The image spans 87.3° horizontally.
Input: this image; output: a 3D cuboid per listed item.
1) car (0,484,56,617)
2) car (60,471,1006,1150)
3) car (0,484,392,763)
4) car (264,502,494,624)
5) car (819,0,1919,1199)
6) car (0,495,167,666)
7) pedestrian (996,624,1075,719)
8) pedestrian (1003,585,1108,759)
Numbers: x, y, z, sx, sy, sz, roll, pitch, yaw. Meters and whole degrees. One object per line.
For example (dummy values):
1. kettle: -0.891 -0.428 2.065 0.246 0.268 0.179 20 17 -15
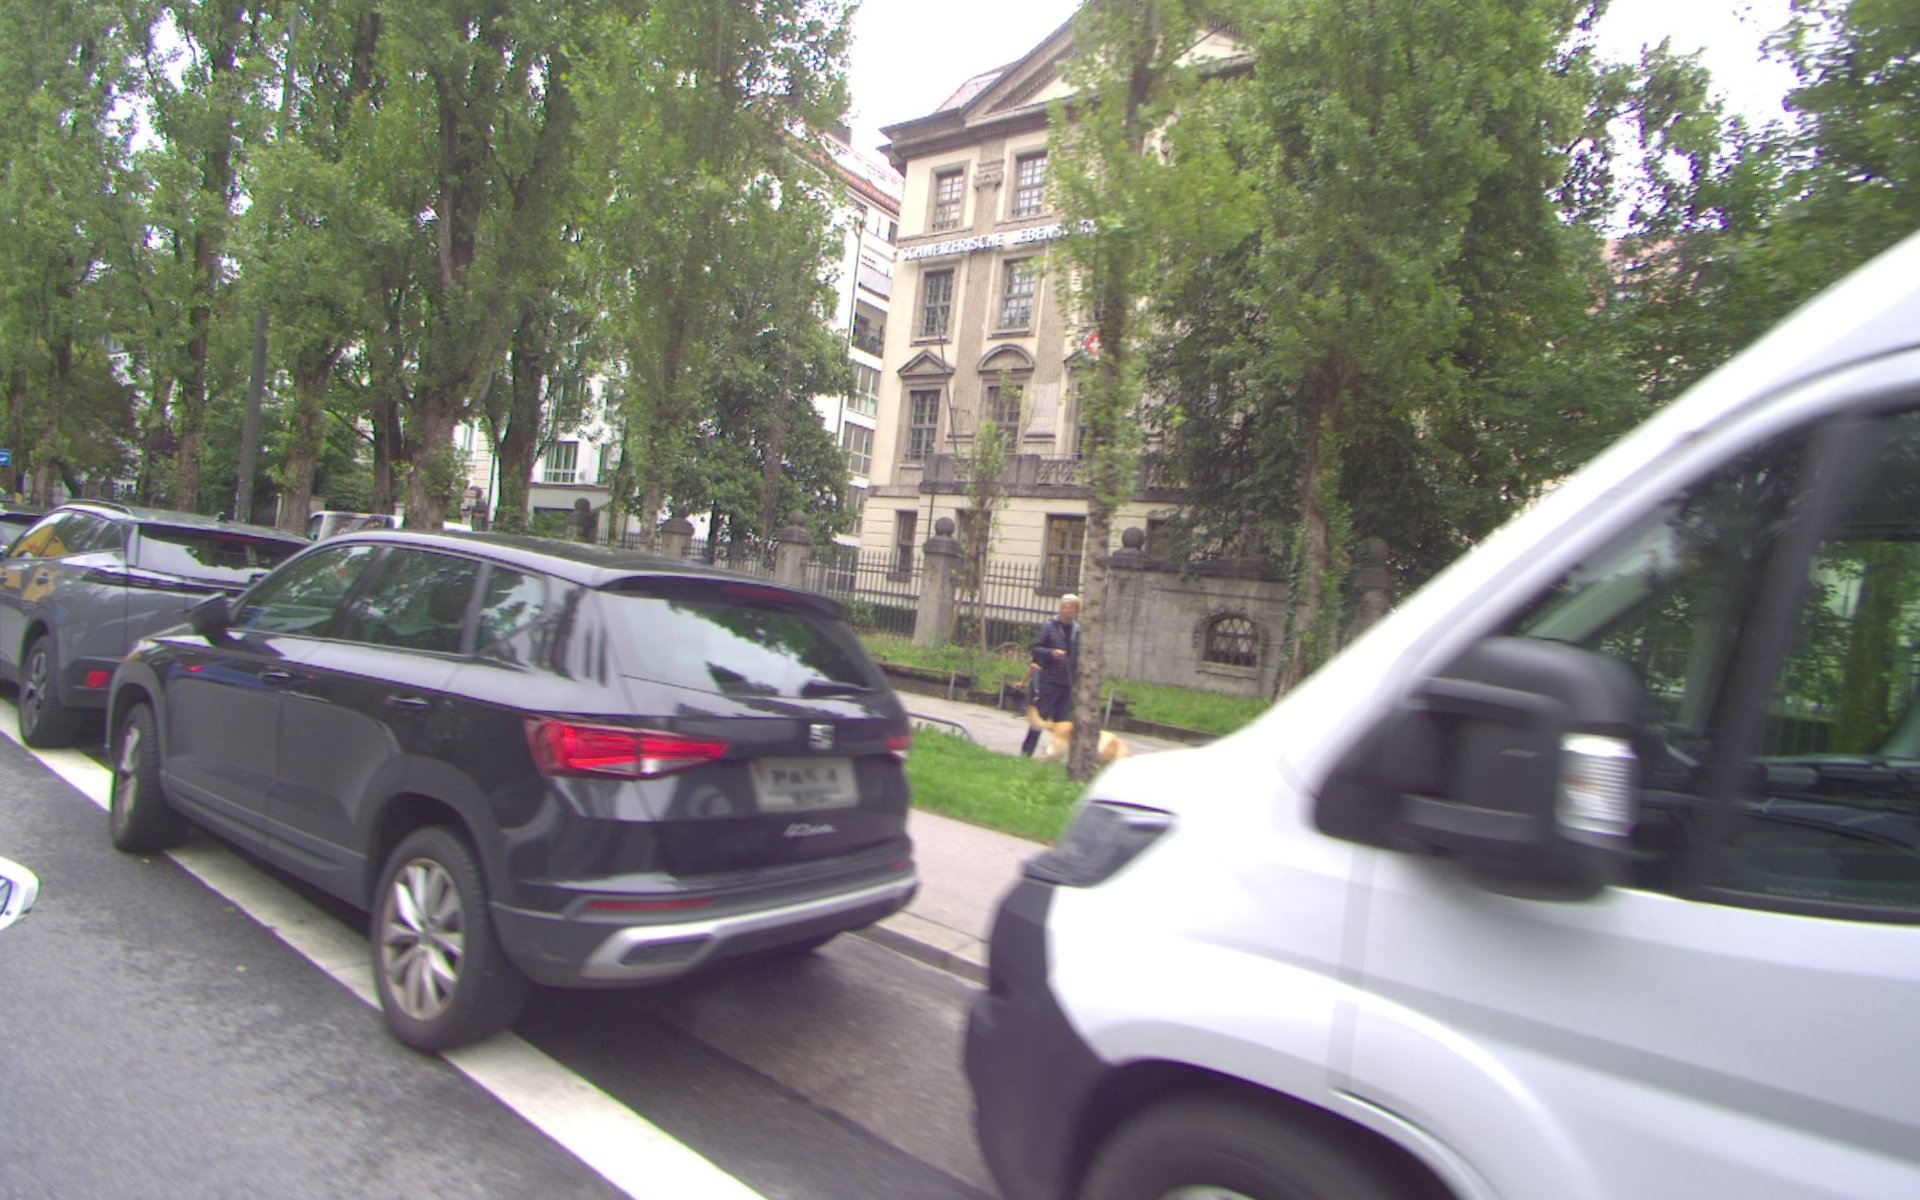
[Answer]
1. car: -13.749 -0.866 13.256 4.082 1.599 1.783 7 -2 36
2. car: -2.102 0.442 4.423 4.157 1.609 1.822 6 -1 36
3. car: -6.111 0.052 7.458 4.050 1.521 1.652 6 -1 36
4. car: -12.075 -0.803 20.772 5.241 1.949 1.994 6 -1 36
5. car: 2.907 0.571 1.132 6.186 2.508 2.075 7 -1 36
6. car: -10.078 -0.349 10.515 4.084 1.462 1.635 6 -3 36
7. pedestrian: 1.091 1.026 14.544 0.661 1.260 0.879 7 2 36
8. pedestrian: 0.989 0.739 10.394 0.623 1.679 0.715 7 0 35
